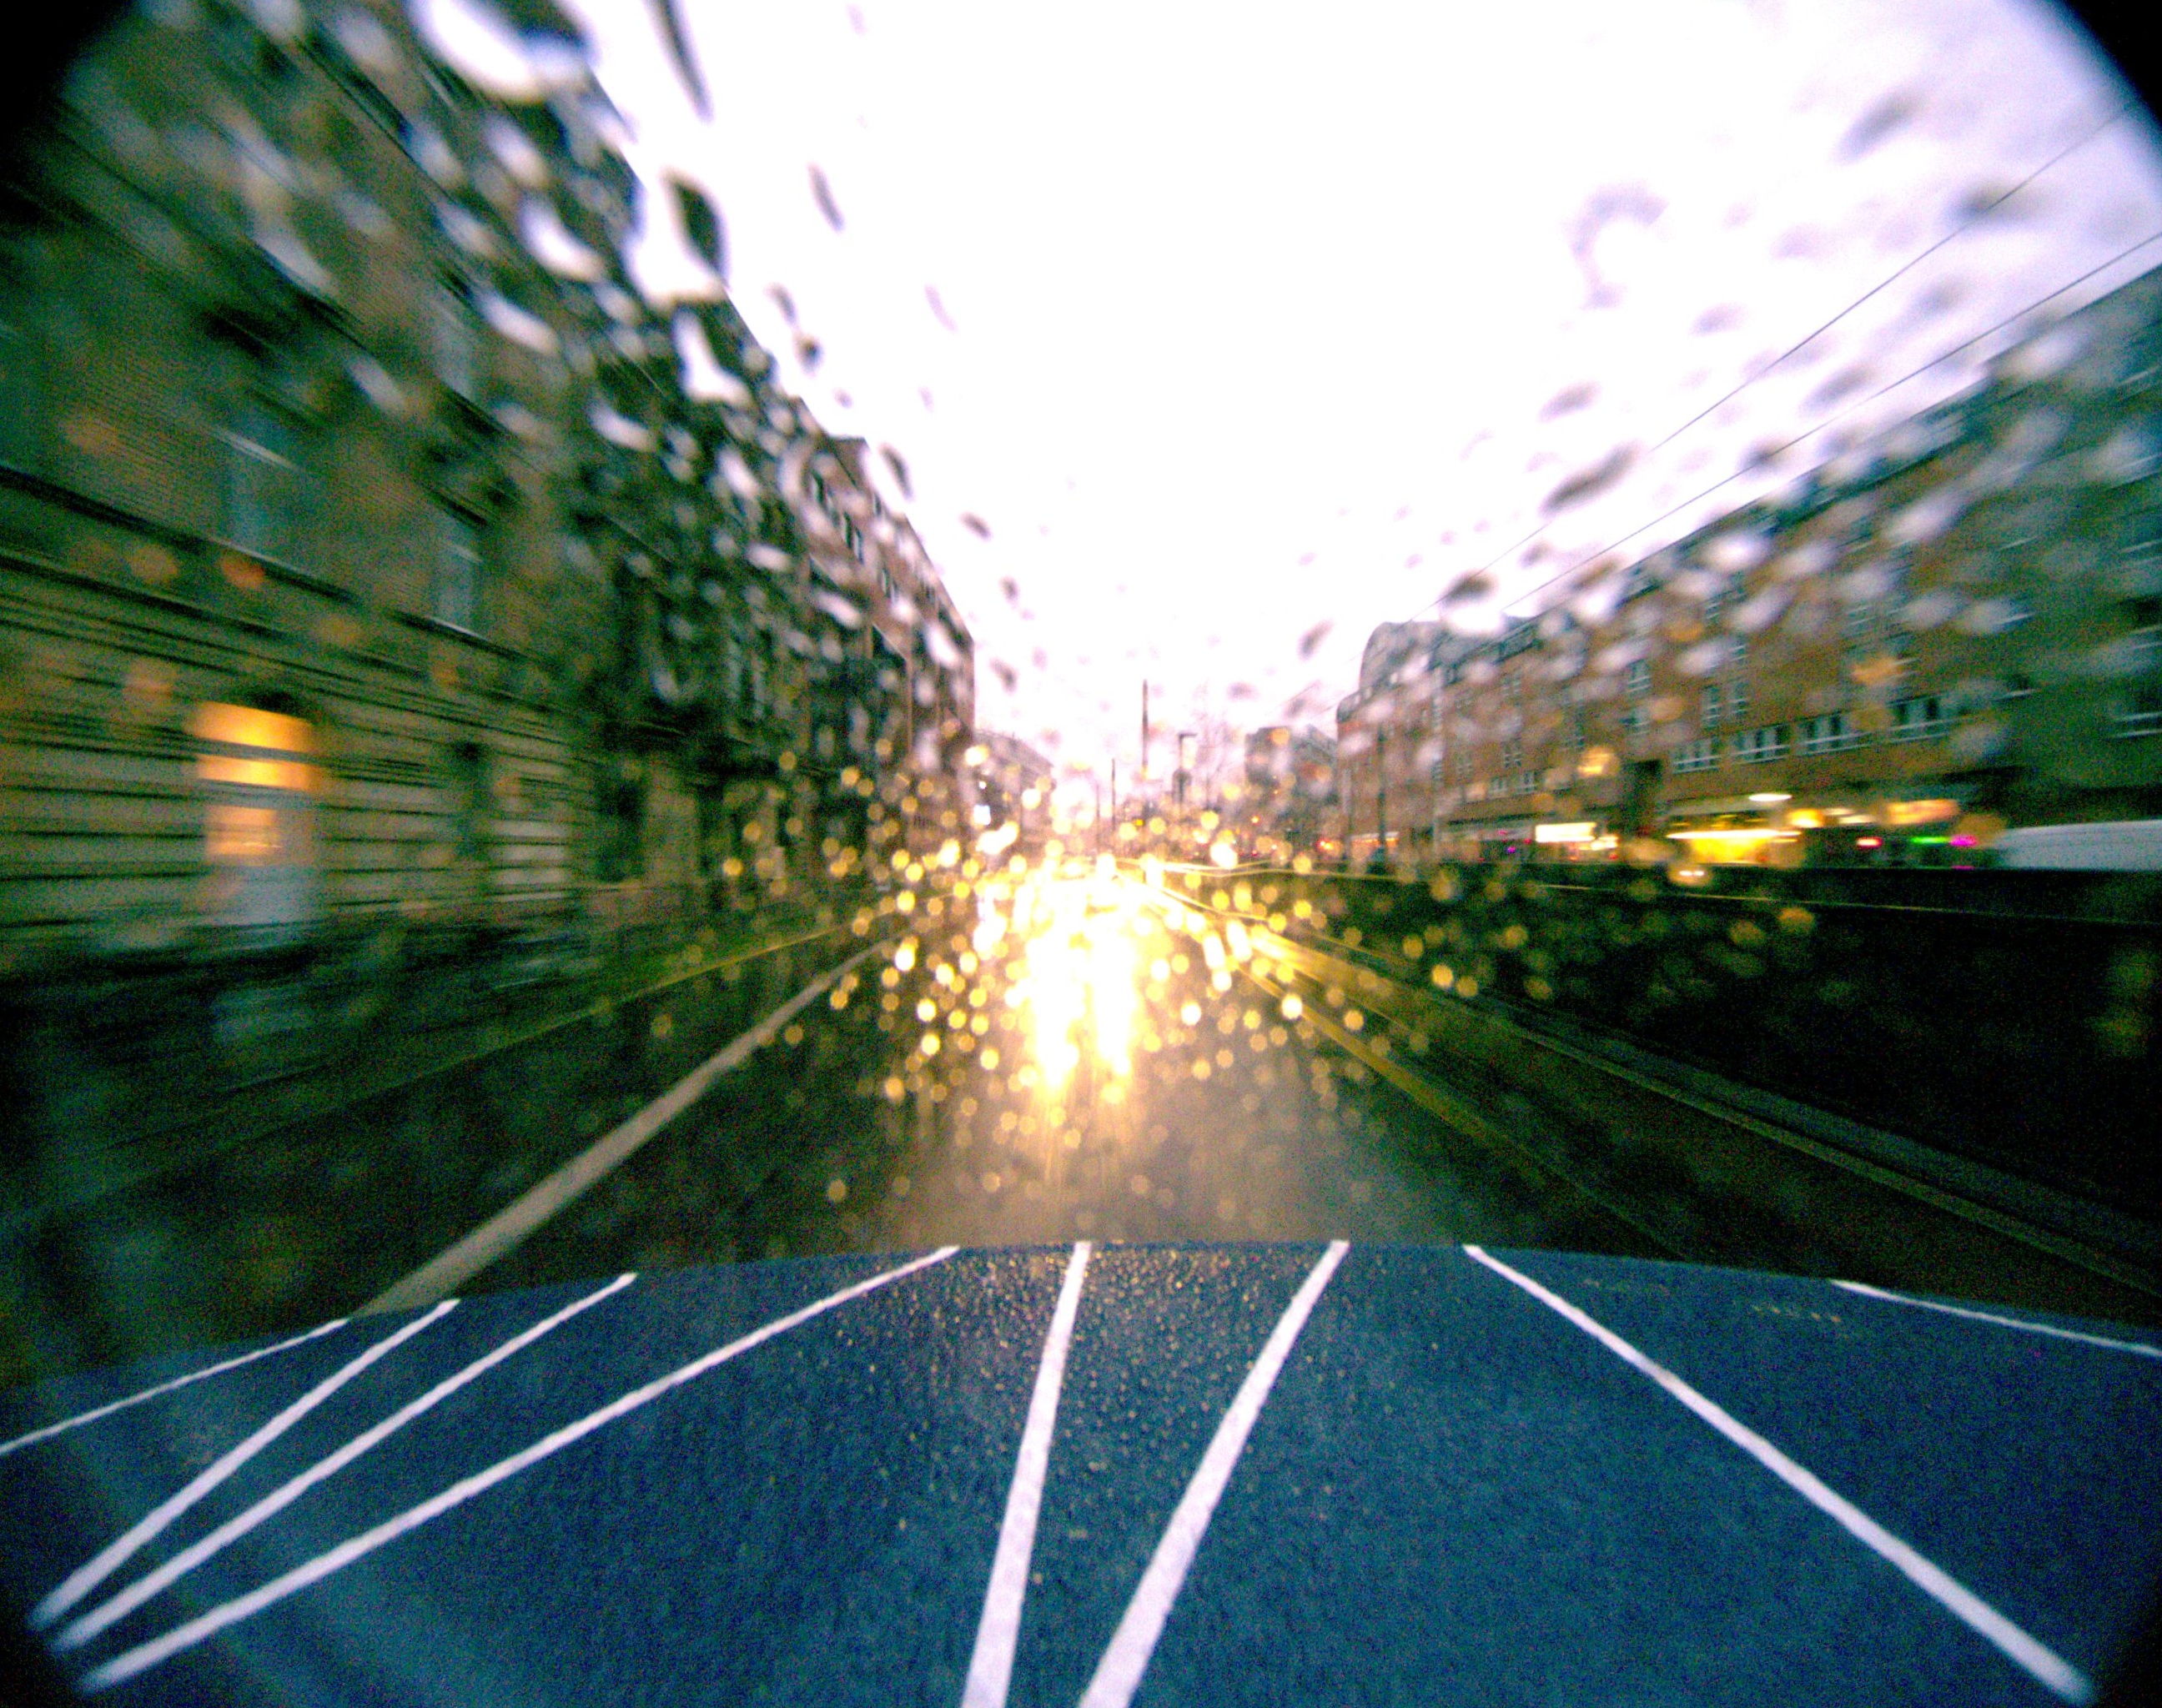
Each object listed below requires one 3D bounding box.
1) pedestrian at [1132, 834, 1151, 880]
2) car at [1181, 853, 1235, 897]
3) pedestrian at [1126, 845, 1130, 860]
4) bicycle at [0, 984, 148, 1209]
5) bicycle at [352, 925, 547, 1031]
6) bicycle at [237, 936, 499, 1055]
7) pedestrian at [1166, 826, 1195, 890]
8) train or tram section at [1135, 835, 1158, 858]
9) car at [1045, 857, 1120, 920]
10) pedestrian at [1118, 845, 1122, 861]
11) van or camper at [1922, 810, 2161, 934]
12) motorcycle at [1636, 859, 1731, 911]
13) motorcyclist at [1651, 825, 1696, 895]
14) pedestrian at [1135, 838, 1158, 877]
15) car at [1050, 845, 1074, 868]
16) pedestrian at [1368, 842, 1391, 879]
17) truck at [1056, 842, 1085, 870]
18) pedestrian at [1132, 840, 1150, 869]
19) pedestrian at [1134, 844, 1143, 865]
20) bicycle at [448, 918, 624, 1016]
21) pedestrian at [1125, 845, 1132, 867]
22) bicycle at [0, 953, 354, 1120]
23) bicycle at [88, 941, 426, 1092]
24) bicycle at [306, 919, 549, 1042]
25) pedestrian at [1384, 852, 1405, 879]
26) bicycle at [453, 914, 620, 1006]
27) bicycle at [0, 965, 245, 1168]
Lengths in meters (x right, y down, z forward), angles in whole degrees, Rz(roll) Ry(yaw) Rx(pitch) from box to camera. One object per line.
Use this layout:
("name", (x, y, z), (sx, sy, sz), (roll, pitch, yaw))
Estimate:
("pedestrian", (2.732, 0.132, 34.497), (0.811, 2.098, 0.804), (-1, 1, 1))
("car", (4.565, 0.726, 27.723), (1.435, 1.434, 3.136), (-2, 1, 1))
("pedestrian", (5.837, -0.149, 94.729), (0.413, 1.835, 0.669), (-1, 1, -5))
("bicycle", (-6.366, 1.253, 4.074), (2.093, 1.046, 0.478), (2, 1, -1))
("bicycle", (-6.643, 1.298, 8.023), (1.734, 1.049, 0.371), (1, 1, -1))
("bicycle", (-6.660, 1.313, 7.133), (2.013, 0.965, 0.425), (2, 1, -1))
("pedestrian", (3.330, 0.122, 25.467), (0.812, 2.098, 0.804), (-1, 1, -2))
("train or tram section", (10.929, -1.307, 127.626), (2.907, 3.547, 11.034), (-2, 1, 1))
("car", (0.029, 0.837, 20.493), (1.774, 1.449, 4.221), (-2, 0, 0))
("pedestrian", (4.700, -0.153, 92.328), (0.434, 1.956, 0.473), (-1, 1, -5))
("van or camper", (24.824, 0.323, 18.036), (2.778, 2.667, 6.757), (-2, 1, 7))
("motorcycle", (12.913, 0.640, 16.350), (0.514, 1.002, 1.806), (-2, 1, -3))
("motorcyclist", (12.896, 0.121, 16.544), (0.500, 1.487, 0.556), (-2, 1, -5))
("pedestrian", (3.294, 0.175, 38.268), (0.802, 1.936, 0.814), (0, 1, 40))
("car", (-1.760, 0.191, 70.849), (1.998, 2.002, 4.000), (-2, 1, 1))
("pedestrian", (12.501, 0.262, 31.865), (0.636, 1.515, 0.756), (-2, 1, 0))
("truck", (-0.704, 0.137, 54.360), (1.909, 1.906, 4.616), (-2, 0, 0))
("pedestrian", (3.493, 0.034, 44.299), (0.779, 1.694, 0.772), (-2, 1, -18))
("pedestrian", (4.418, 0.049, 58.408), (0.620, 1.581, 0.622), (-1, 1, -2))
("bicycle", (-6.225, 1.287, 8.710), (1.734, 1.049, 0.371), (1, 1, -1))
("pedestrian", (3.699, 0.162, 59.058), (0.482, 1.669, 0.563), (-1, 1, -2))
("bicycle", (-6.484, 1.274, 5.393), (2.149, 1.049, 0.484), (1, 1, -1))
("bicycle", (-6.493, 1.272, 6.035), (2.149, 1.048, 0.425), (2, 0, -1))
("bicycle", (-6.493, 1.248, 7.593), (2.013, 1.089, 0.425), (2, 1, -1))
("pedestrian", (13.321, 0.487, 32.314), (0.608, 1.096, 0.591), (-2, 1, 0))
("bicycle", (-6.578, 1.277, 9.207), (1.734, 1.049, 0.371), (1, 1, -1))
("bicycle", (-6.333, 1.228, 4.532), (2.149, 1.048, 0.425), (2, 0, -1))
